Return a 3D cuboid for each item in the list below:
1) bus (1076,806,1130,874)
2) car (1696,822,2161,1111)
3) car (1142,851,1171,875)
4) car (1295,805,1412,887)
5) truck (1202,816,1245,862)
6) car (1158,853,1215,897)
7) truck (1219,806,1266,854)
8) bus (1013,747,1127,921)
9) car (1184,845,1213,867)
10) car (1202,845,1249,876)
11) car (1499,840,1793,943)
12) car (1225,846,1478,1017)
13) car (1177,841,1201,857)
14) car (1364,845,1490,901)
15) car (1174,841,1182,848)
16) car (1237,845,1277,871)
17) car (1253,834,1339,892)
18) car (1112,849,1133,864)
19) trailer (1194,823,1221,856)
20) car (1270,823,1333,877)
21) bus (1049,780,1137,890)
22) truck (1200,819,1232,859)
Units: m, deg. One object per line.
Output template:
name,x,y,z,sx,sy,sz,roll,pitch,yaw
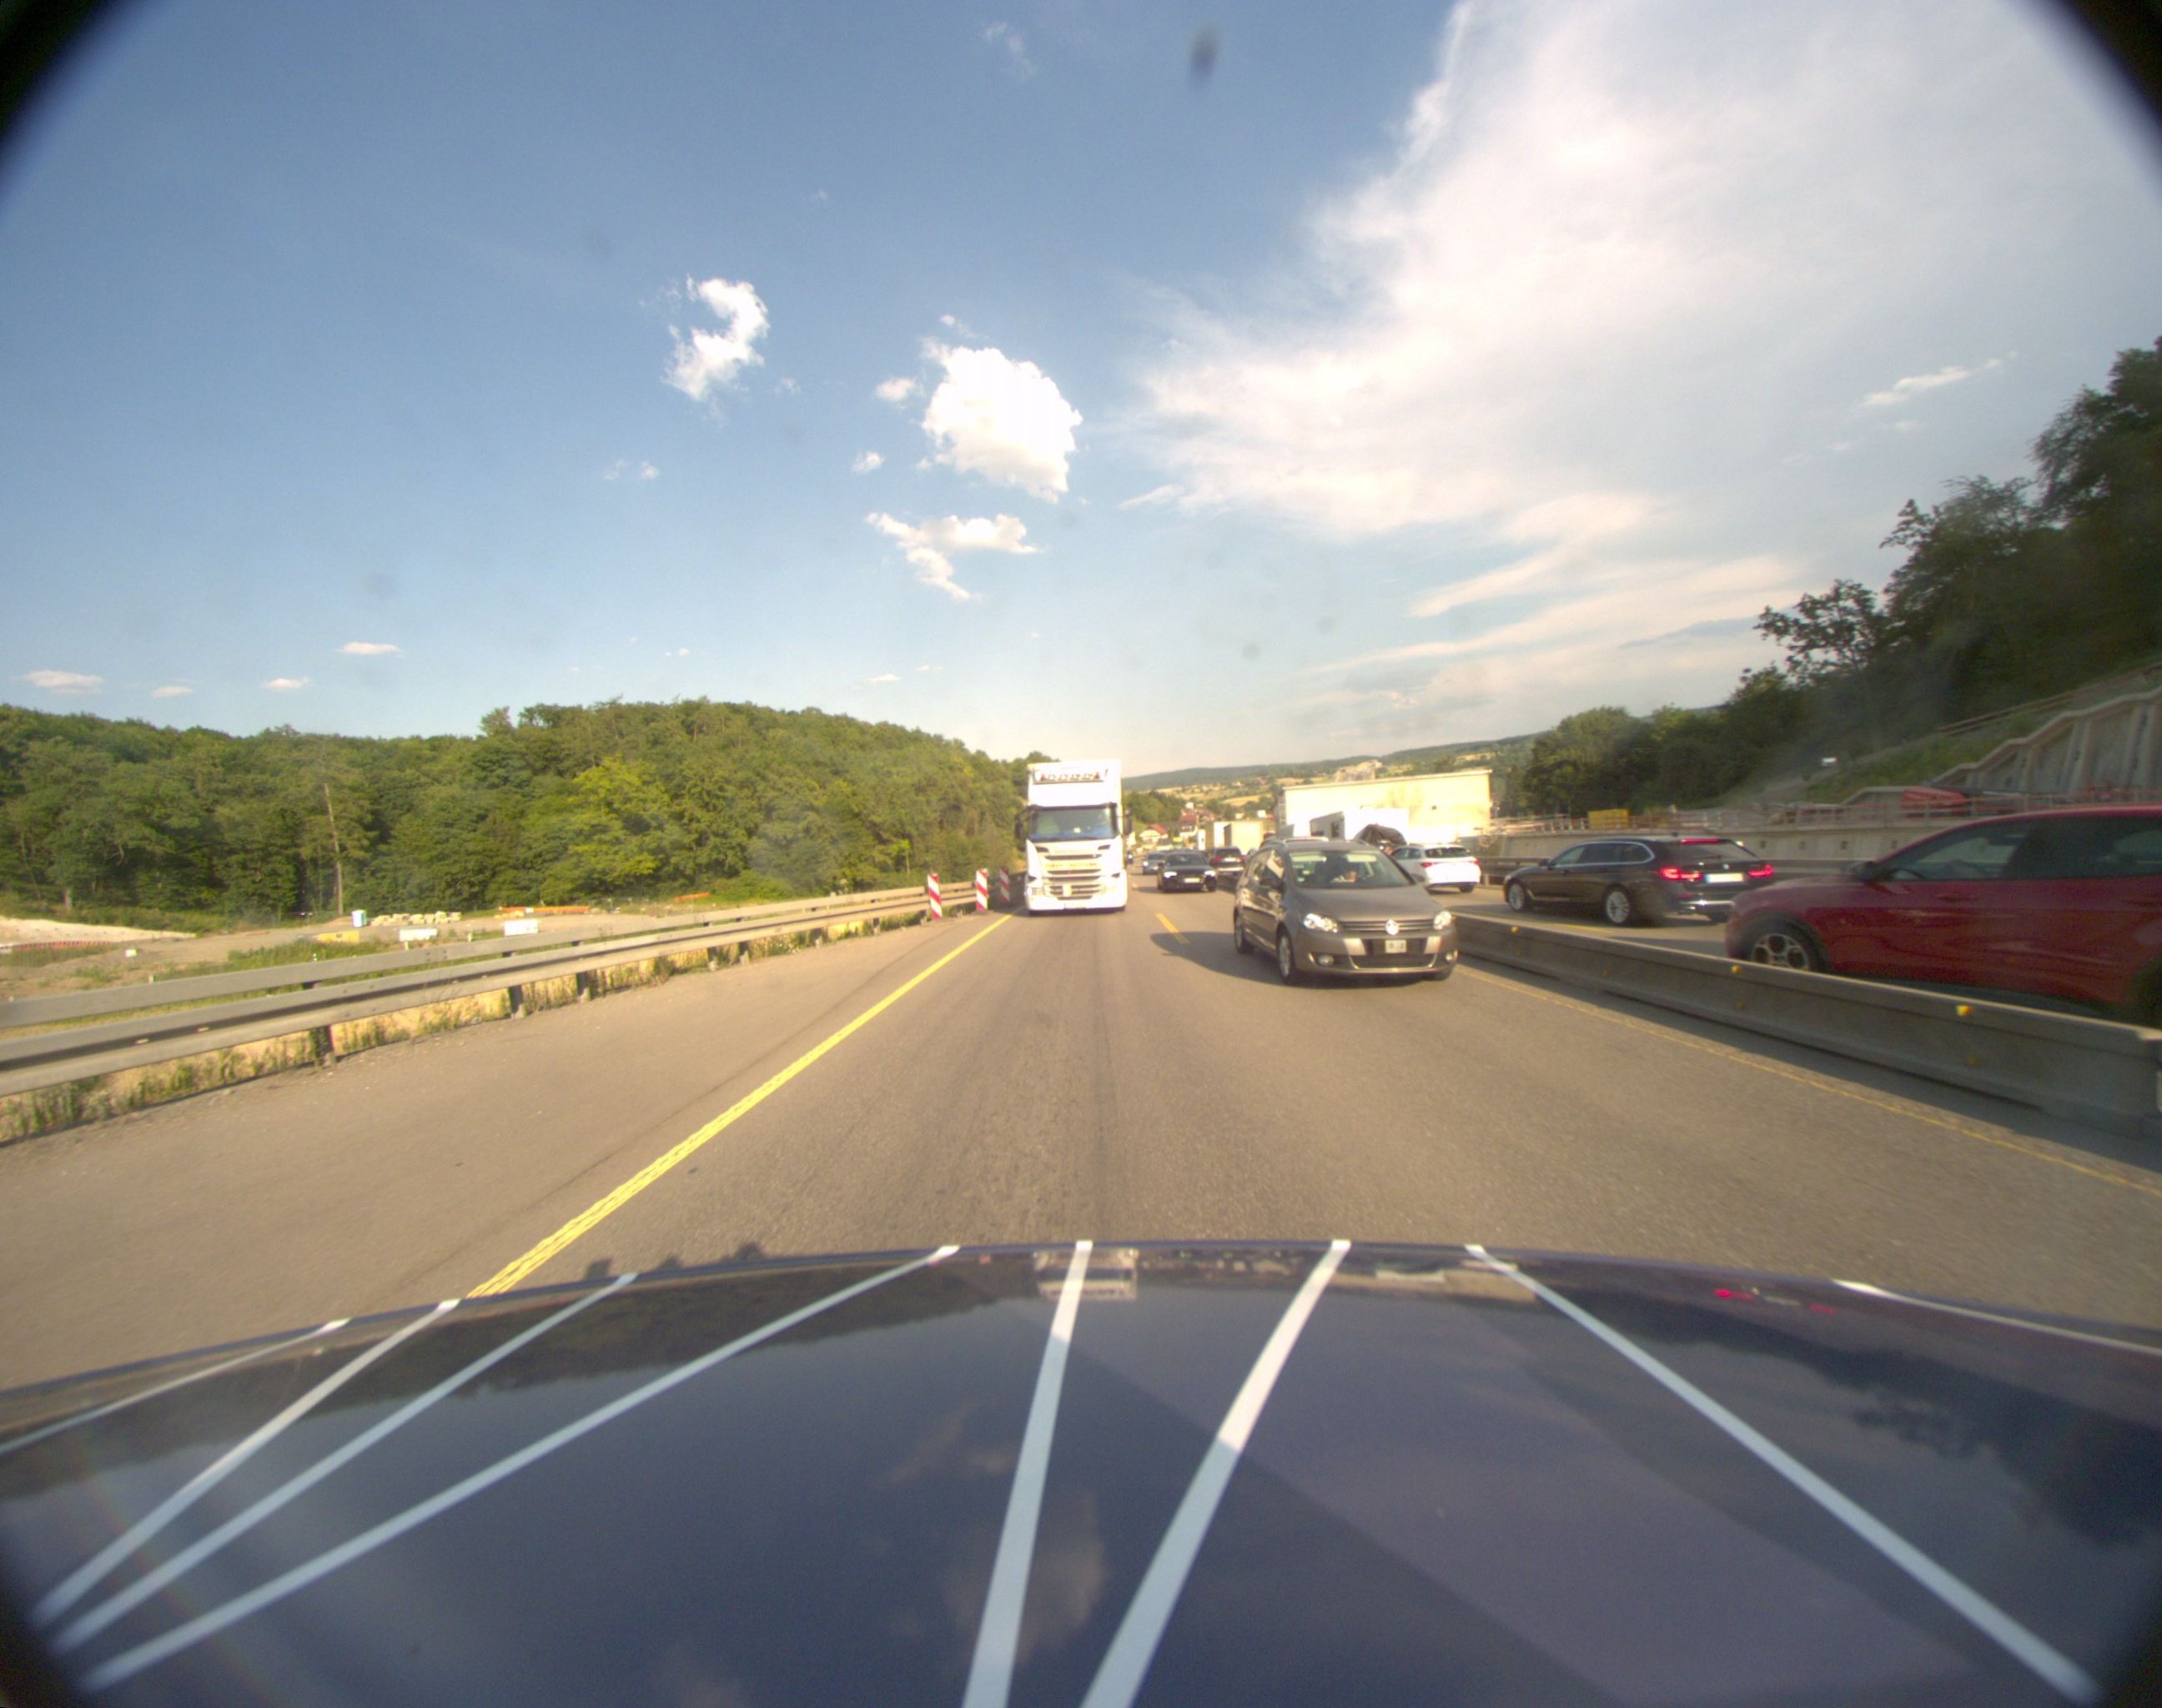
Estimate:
bus,1.843,-0.969,56.958,2.983,4.553,10.908,-2,0,7
car,6.874,0.595,5.046,1.892,1.559,4.455,-3,0,0
car,4.913,0.567,49.844,1.698,1.390,4.001,-3,0,5
car,10.825,-0.346,30.963,2.340,2.901,7.633,-1,1,3
truck,13.801,-1.453,74.563,2.713,4.064,14.156,-1,1,5
car,3.814,0.710,27.952,1.866,1.391,4.001,-1,1,5
truck,12.656,-1.803,60.009,2.453,3.442,7.618,-2,1,4
bus,0.070,-0.562,23.730,2.634,4.077,11.314,-1,1,3
car,9.074,0.178,58.846,1.786,1.512,4.001,-4,-1,3
car,7.888,0.371,41.867,1.821,1.569,4.756,0,-1,2
car,9.545,0.543,13.448,1.747,1.451,4.713,-2,0,1
car,2.967,0.721,9.303,1.688,1.565,4.099,-3,1,2
car,10.635,-0.441,75.193,2.062,1.478,4.728,1,0,4
car,10.139,0.476,22.665,1.753,1.414,4.610,-3,1,2
car,26.499,-2.581,208.297,1.821,1.988,4.756,0,-1,2
car,10.978,0.206,47.636,1.767,1.514,4.003,-3,1,4
car,7.424,0.331,26.792,1.808,1.761,5.455,-2,-1,5
car,4.976,0.266,91.481,1.999,1.630,3.998,-2,1,-3
trailer,16.831,-1.906,102.052,2.863,4.013,13.975,-2,1,7
car,11.471,-0.232,39.859,1.961,2.606,5.749,-1,1,4
bus,0.883,-0.820,37.343,2.983,4.553,9.973,-2,0,8
truck,14.397,-1.555,81.442,2.719,4.065,6.102,-1,1,5
